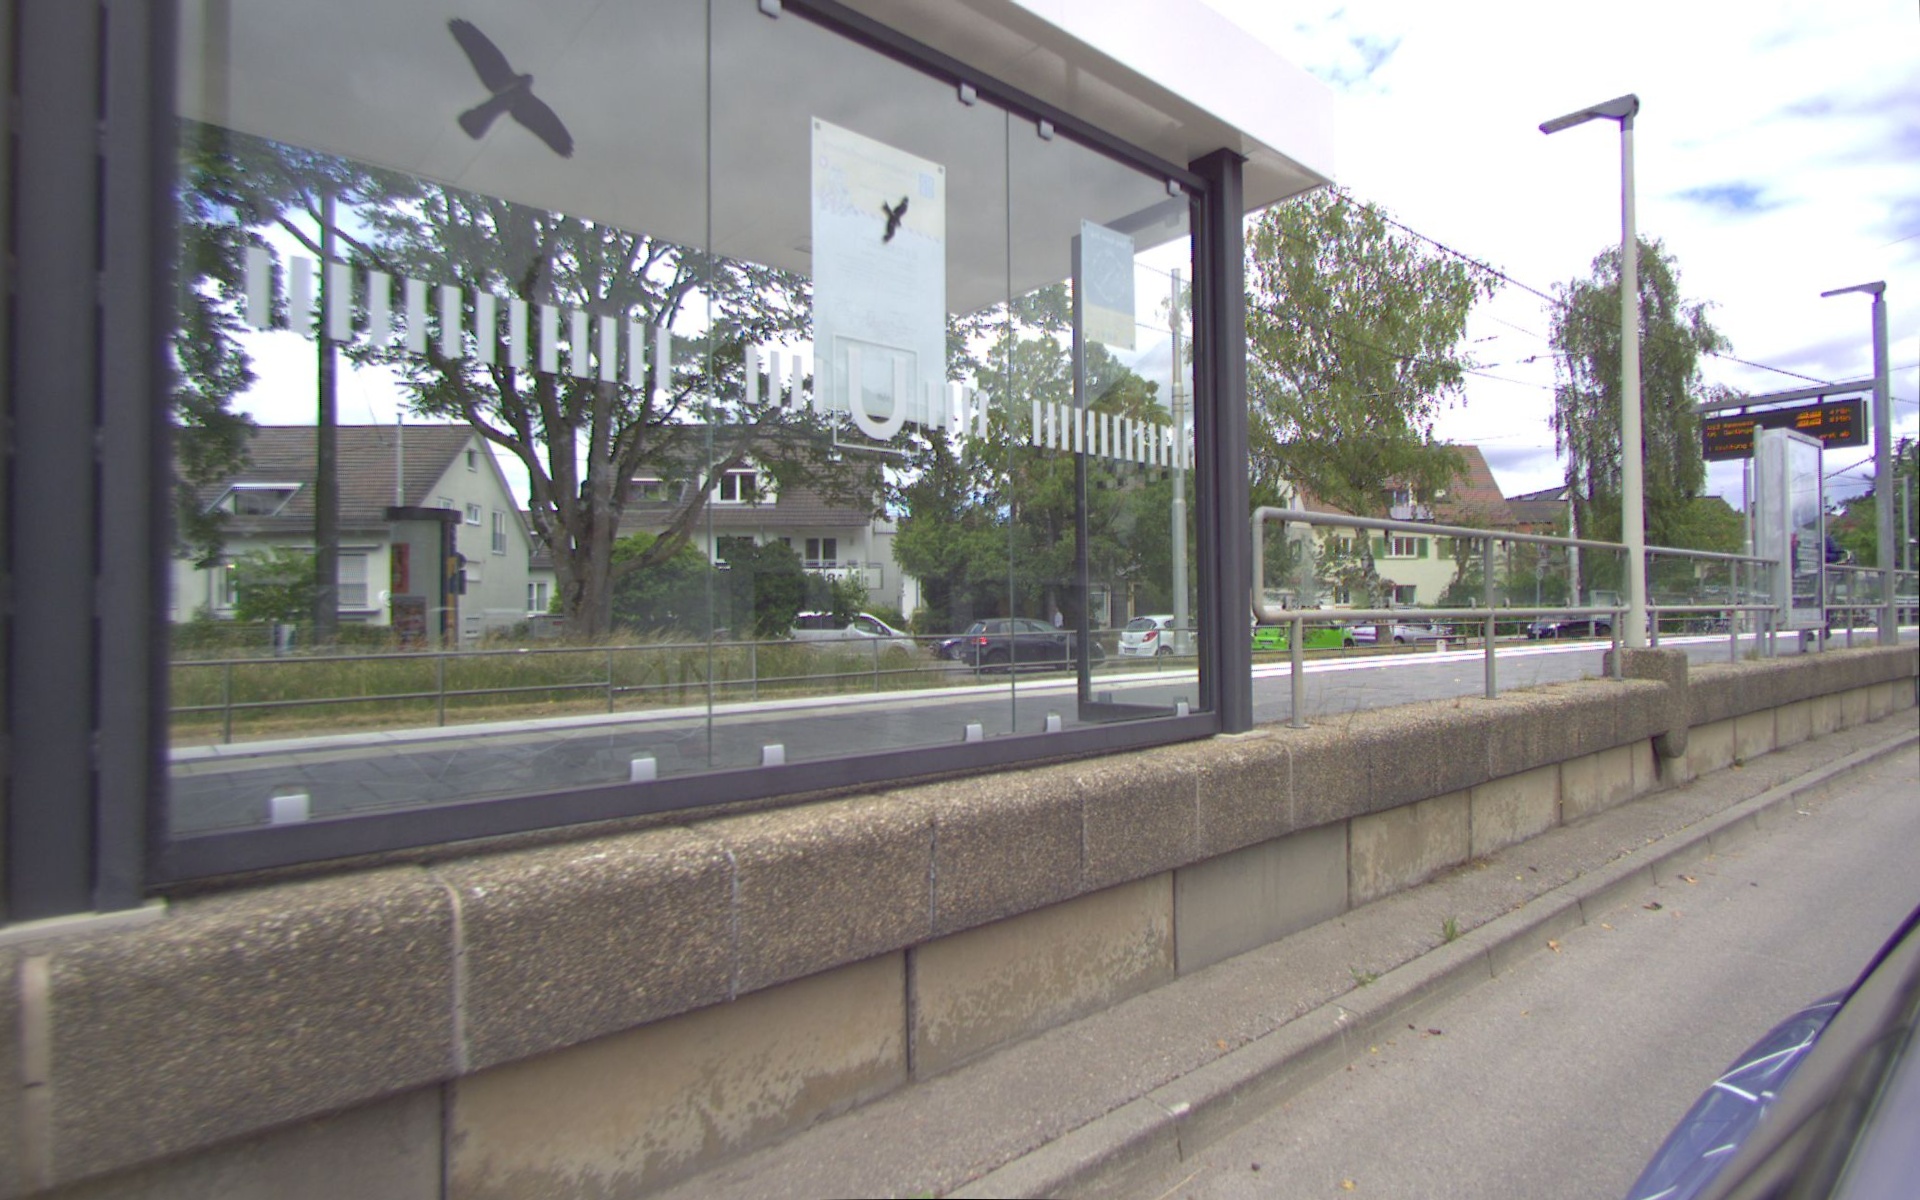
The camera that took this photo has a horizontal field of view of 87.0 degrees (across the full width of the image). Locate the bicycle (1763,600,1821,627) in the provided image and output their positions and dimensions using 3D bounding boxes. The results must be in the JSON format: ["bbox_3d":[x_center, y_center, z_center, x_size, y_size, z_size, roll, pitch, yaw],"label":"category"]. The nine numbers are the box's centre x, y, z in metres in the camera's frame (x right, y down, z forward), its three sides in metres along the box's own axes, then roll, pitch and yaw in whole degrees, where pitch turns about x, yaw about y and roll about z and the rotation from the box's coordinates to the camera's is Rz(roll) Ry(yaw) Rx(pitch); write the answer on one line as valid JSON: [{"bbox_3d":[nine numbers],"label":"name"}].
[{"bbox_3d":[34.091,0.560,41.513,0.545,1.055,1.774,-1,-1,-22],"label":"bicycle"}]

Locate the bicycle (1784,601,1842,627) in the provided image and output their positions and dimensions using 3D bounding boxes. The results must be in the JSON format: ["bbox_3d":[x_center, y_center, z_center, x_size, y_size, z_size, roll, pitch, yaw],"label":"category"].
[{"bbox_3d":[35.524,0.586,42.187,0.545,1.055,1.774,-1,-1,-22],"label":"bicycle"}]

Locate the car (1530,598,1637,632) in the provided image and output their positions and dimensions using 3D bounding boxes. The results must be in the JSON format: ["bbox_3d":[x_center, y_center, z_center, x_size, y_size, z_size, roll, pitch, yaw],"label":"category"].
[{"bbox_3d":[29.205,0.666,47.410,4.329,1.505,1.825,-1,0,-17],"label":"car"}]

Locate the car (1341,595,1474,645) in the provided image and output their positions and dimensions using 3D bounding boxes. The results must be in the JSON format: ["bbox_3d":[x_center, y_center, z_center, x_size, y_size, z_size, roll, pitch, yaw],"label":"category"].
[{"bbox_3d":[15.409,0.646,34.812,4.175,1.594,2.072,-1,0,-29],"label":"car"}]

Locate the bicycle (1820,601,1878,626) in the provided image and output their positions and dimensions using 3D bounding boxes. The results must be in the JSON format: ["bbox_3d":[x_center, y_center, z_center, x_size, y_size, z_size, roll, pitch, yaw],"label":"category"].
[{"bbox_3d":[37.793,0.565,43.029,0.545,1.055,1.774,-1,-1,-22],"label":"bicycle"}]

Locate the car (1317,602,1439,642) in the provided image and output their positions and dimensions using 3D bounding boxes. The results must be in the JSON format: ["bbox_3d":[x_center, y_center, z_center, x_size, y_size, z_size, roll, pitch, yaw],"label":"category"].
[{"bbox_3d":[18.292,0.950,44.376,4.738,1.657,1.825,-1,0,-13],"label":"car"}]

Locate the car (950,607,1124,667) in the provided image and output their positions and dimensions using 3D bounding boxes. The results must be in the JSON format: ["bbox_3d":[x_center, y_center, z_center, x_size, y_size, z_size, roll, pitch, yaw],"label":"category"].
[{"bbox_3d":[2.112,0.982,27.992,4.406,1.507,1.850,-1,0,-18],"label":"car"}]

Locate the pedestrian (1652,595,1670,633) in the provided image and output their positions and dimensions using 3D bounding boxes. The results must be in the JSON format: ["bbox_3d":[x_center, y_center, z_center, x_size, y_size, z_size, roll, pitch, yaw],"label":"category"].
[{"bbox_3d":[35.795,0.703,51.664,0.623,1.939,0.818,-1,-1,43],"label":"pedestrian"}]

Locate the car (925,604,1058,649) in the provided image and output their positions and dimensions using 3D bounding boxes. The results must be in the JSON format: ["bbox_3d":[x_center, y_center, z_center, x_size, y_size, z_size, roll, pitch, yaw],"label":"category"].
[{"bbox_3d":[1.224,1.004,39.316,4.826,1.507,1.766,-2,1,-16],"label":"car"}]

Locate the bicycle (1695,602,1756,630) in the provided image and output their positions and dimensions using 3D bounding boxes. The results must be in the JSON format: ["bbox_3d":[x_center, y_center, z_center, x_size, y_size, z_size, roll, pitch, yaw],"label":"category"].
[{"bbox_3d":[29.687,0.622,39.275,0.546,1.055,1.771,0,-1,-32],"label":"bicycle"}]

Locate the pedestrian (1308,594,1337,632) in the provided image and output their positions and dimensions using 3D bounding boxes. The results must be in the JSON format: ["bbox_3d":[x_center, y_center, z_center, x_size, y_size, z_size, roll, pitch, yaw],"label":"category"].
[{"bbox_3d":[16.566,0.588,46.218,0.929,1.707,0.811,0,-1,-29],"label":"pedestrian"}]

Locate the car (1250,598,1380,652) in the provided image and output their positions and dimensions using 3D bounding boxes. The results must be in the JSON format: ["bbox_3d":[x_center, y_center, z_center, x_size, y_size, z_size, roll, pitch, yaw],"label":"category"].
[{"bbox_3d":[11.369,0.771,32.377,3.920,1.594,1.737,-1,0,-29],"label":"car"}]

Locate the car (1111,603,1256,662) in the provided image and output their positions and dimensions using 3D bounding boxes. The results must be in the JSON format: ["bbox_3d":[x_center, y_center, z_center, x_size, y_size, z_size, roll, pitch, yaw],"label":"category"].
[{"bbox_3d":[6.634,0.912,29.922,4.017,1.594,1.764,-1,0,-29],"label":"car"}]

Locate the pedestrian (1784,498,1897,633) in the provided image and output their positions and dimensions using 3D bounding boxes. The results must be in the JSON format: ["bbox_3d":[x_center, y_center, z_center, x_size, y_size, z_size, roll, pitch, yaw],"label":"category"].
[{"bbox_3d":[11.586,-0.433,13.327,0.892,1.692,0.889,0,-1,-32],"label":"pedestrian"}]

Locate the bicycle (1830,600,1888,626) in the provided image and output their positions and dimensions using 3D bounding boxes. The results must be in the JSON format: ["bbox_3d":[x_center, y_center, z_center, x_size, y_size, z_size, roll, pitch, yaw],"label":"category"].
[{"bbox_3d":[38.442,0.550,43.303,0.545,1.055,1.774,-1,-1,-22],"label":"bicycle"}]

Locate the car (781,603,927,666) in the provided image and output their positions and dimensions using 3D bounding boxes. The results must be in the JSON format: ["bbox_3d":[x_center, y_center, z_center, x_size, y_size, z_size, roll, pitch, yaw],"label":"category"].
[{"bbox_3d":[-3.437,1.075,32.550,4.407,1.868,1.765,-1,-1,-14],"label":"car"}]
